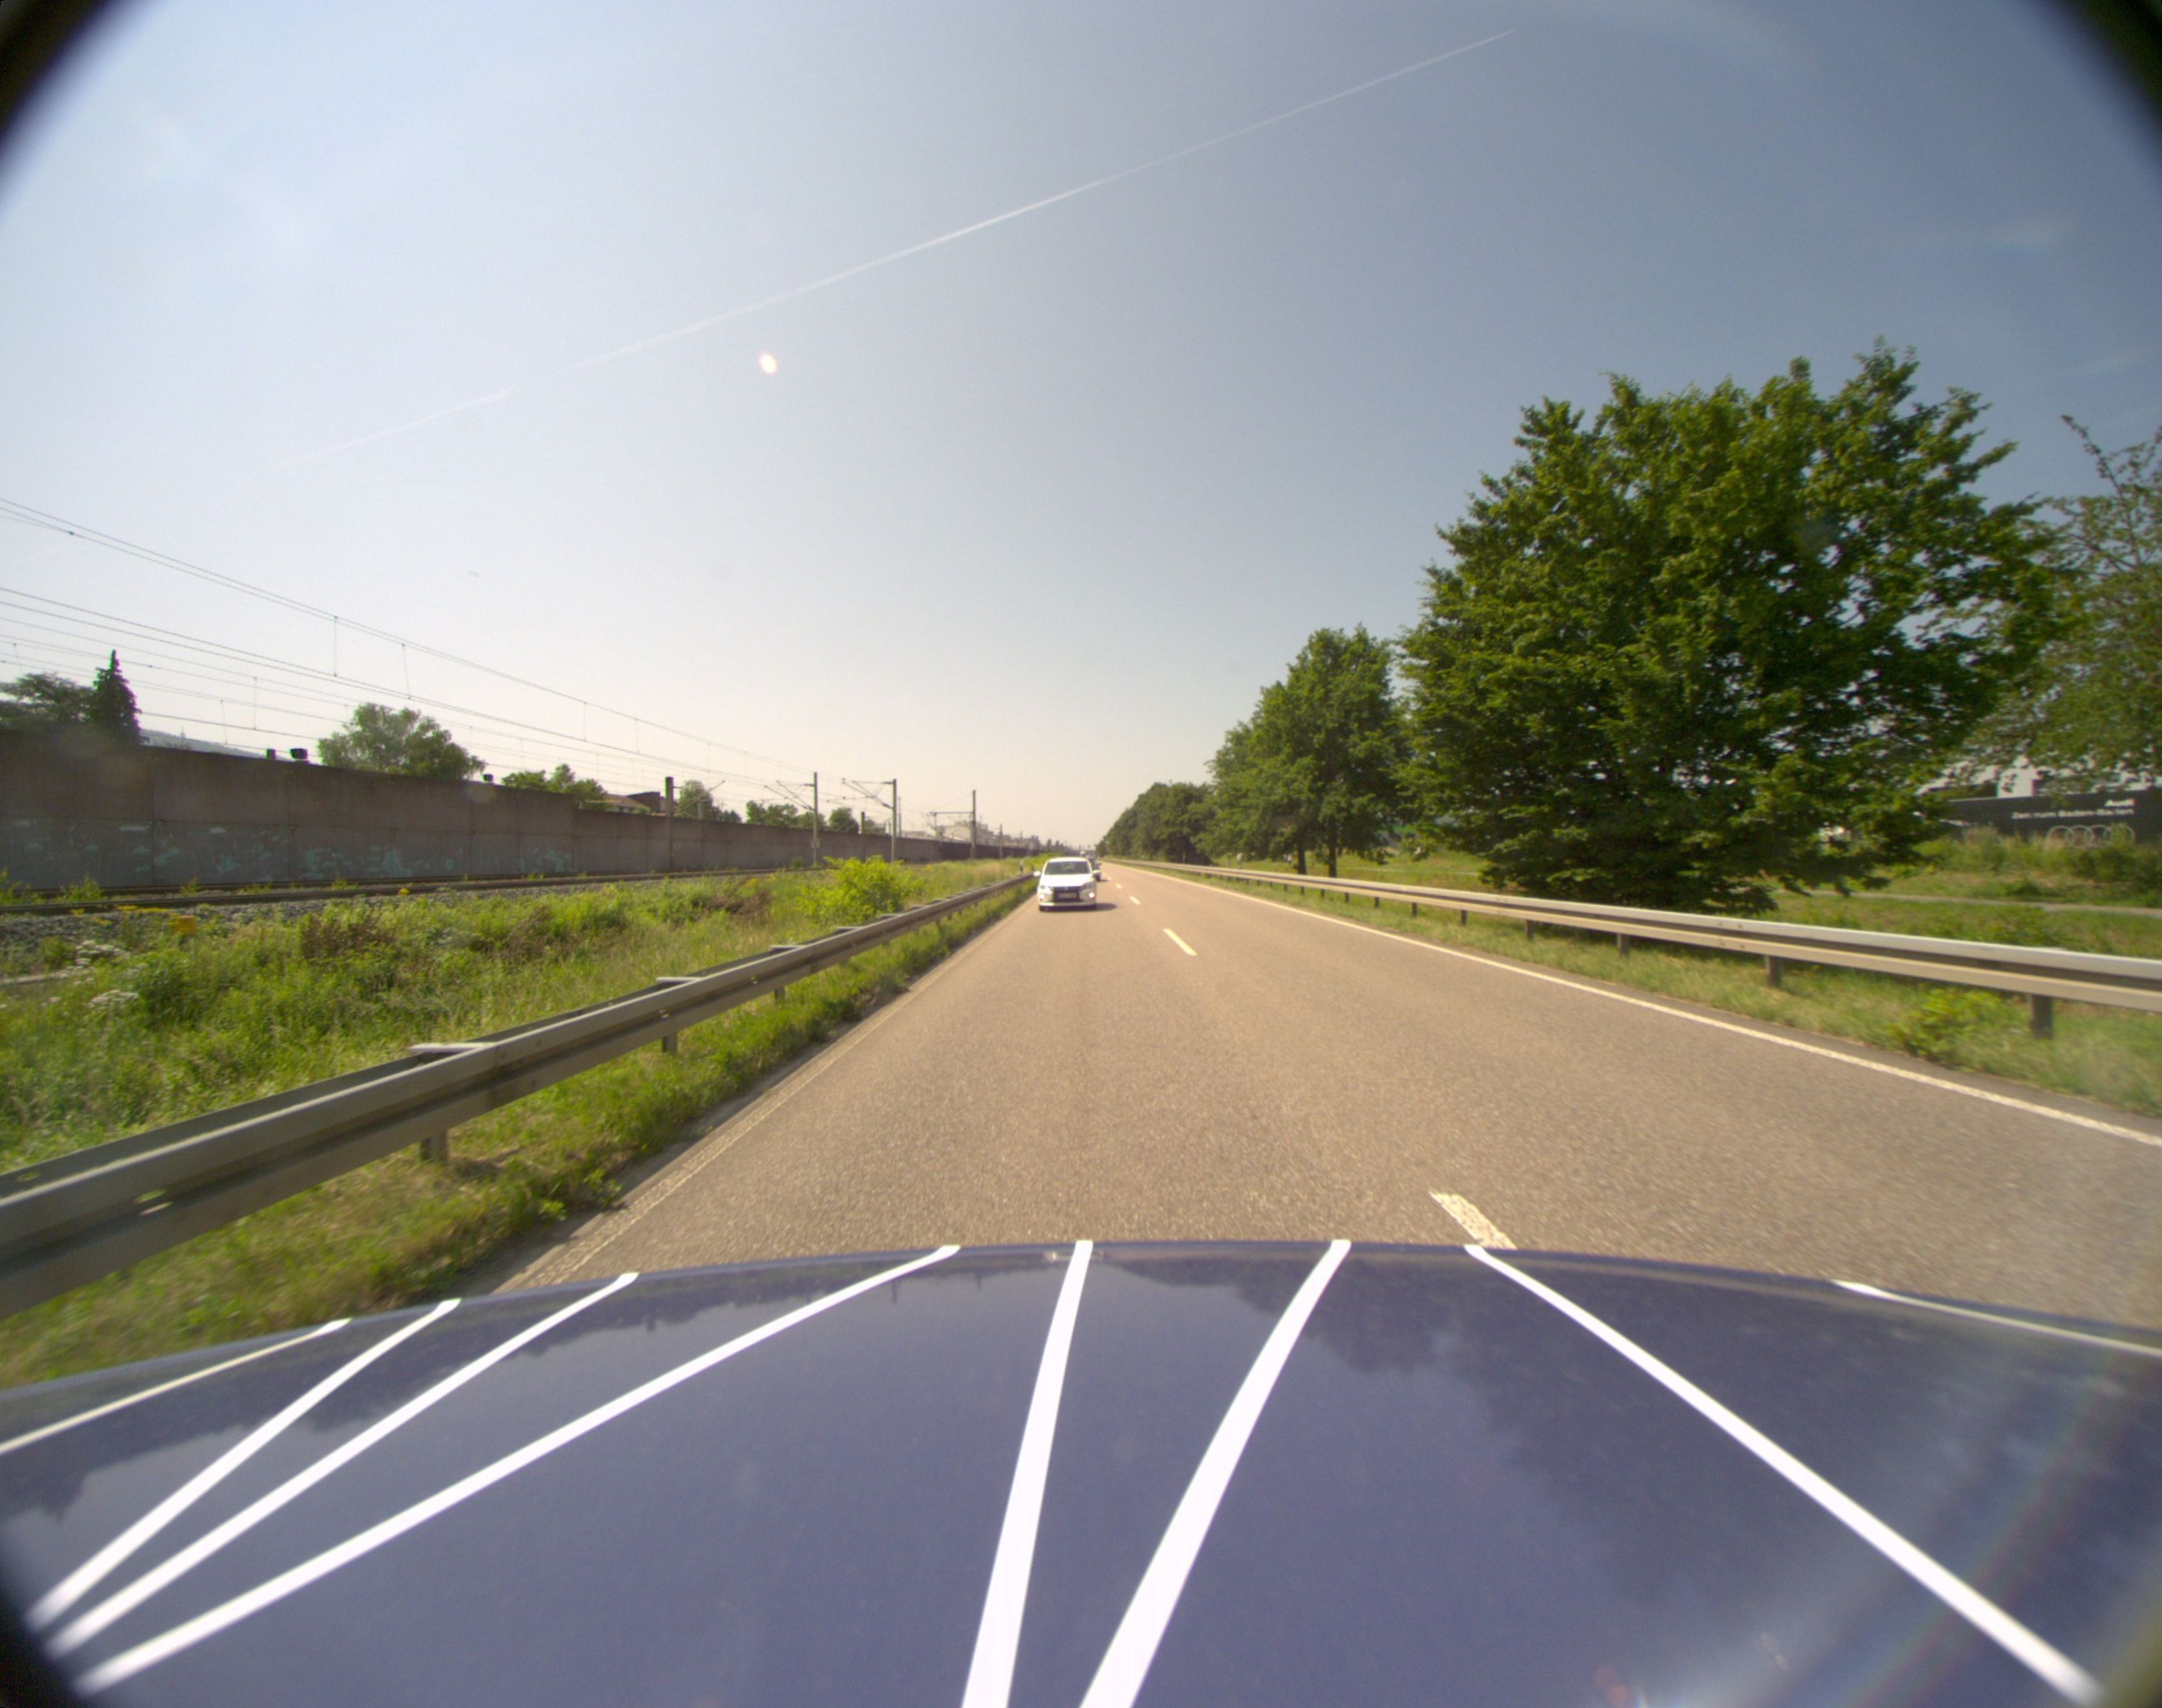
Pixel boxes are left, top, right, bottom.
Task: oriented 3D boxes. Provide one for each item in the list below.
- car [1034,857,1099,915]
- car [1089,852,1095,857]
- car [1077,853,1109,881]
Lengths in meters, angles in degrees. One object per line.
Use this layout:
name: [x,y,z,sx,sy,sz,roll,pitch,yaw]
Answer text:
car: [-0.401,0.884,22.722,1.701,1.471,4.155,-2,0,0]
car: [3.152,0.081,214.567,1.711,1.471,4.154,1,0,0]
car: [0.646,0.719,43.751,1.711,1.471,4.155,-2,0,0]
